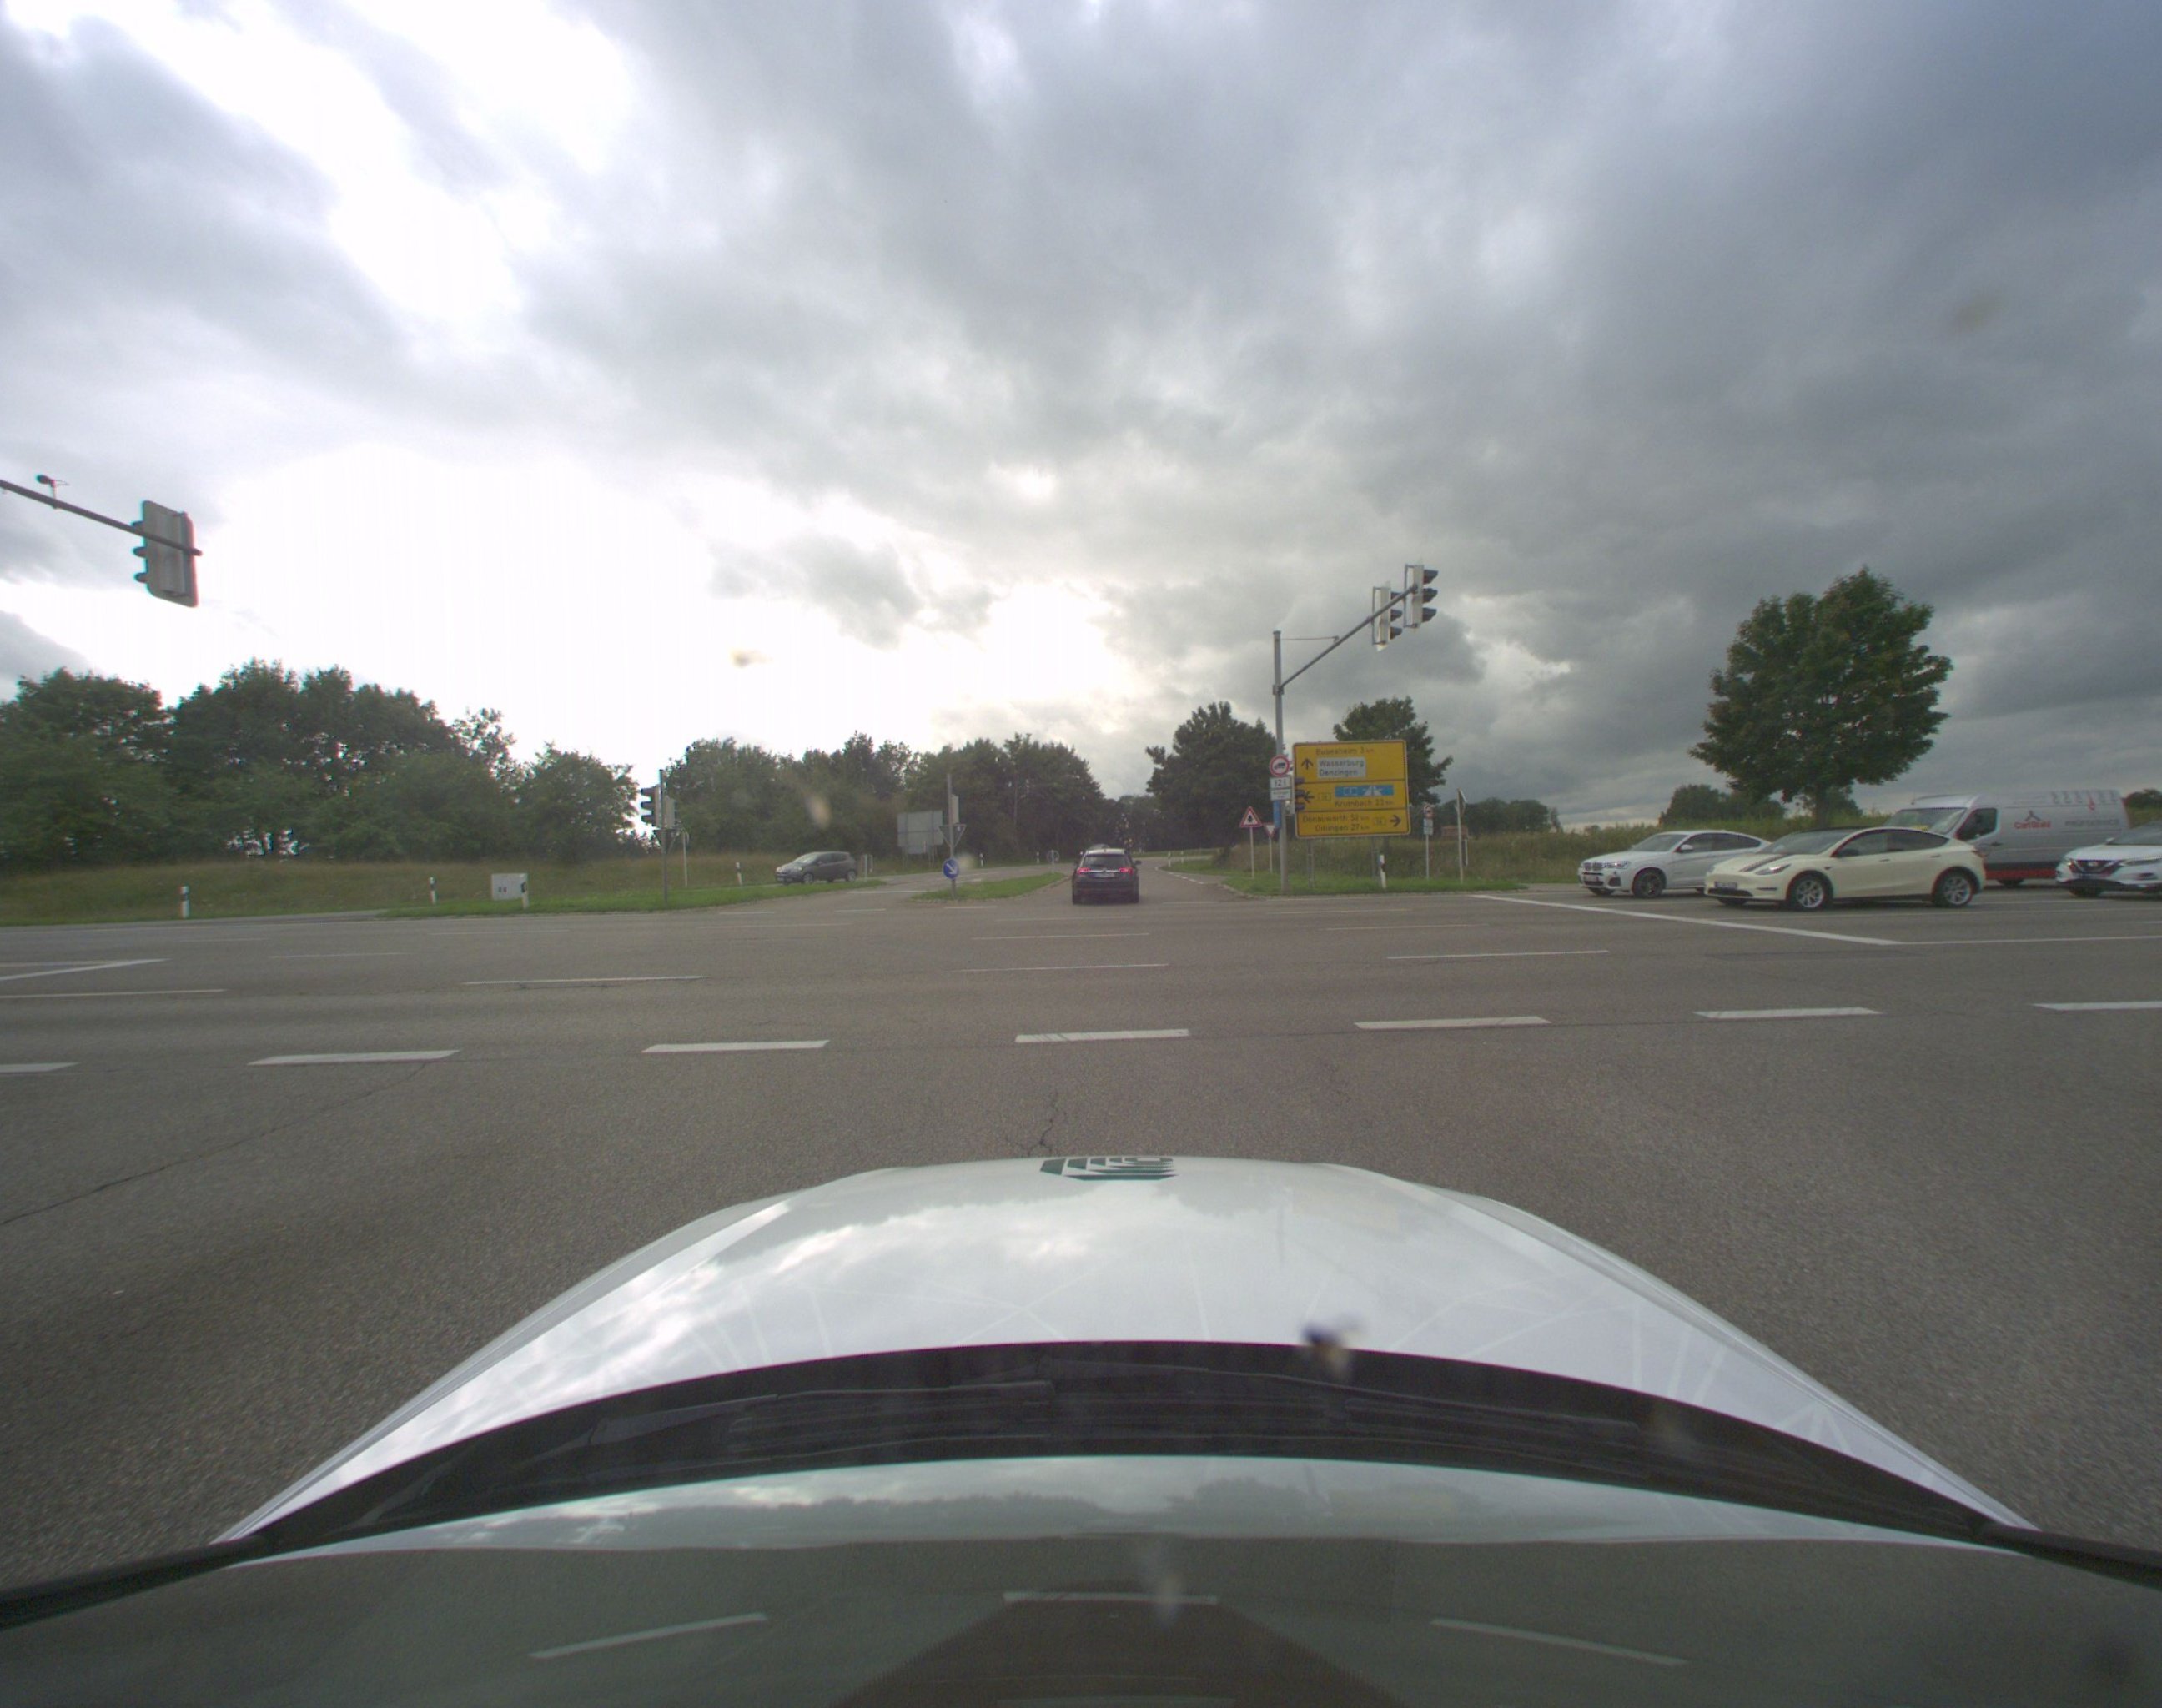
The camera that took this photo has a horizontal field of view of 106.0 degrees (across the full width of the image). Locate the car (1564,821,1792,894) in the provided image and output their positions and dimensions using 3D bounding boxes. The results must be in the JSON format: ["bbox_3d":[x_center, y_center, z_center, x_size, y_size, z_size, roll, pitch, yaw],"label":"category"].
[{"bbox_3d":[14.823,0.099,20.392,4.249,1.629,1.998,-2,-1,-2],"label":"car"}]

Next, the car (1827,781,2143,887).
[{"bbox_3d":[23.073,-0.476,20.994,5.478,2.442,2.397,-2,-1,-1],"label":"car"}]

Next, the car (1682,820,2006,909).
[{"bbox_3d":[15.258,0.211,16.480,4.720,1.565,1.999,-2,-1,-2],"label":"car"}]

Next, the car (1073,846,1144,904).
[{"bbox_3d":[0.823,0.534,23.139,1.800,1.450,4.276,-2,0,3],"label":"car"}]

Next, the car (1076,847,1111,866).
[{"bbox_3d":[1.143,0.195,71.436,1.979,1.570,4.775,-1,0,15],"label":"car"}]

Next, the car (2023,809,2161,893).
[{"bbox_3d":[22.877,-0.094,16.925,4.296,1.629,1.999,-2,-1,-1],"label":"car"}]

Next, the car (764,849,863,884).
[{"bbox_3d":[-12.434,0.559,38.049,1.974,1.535,4.025,-2,-1,34],"label":"car"}]
